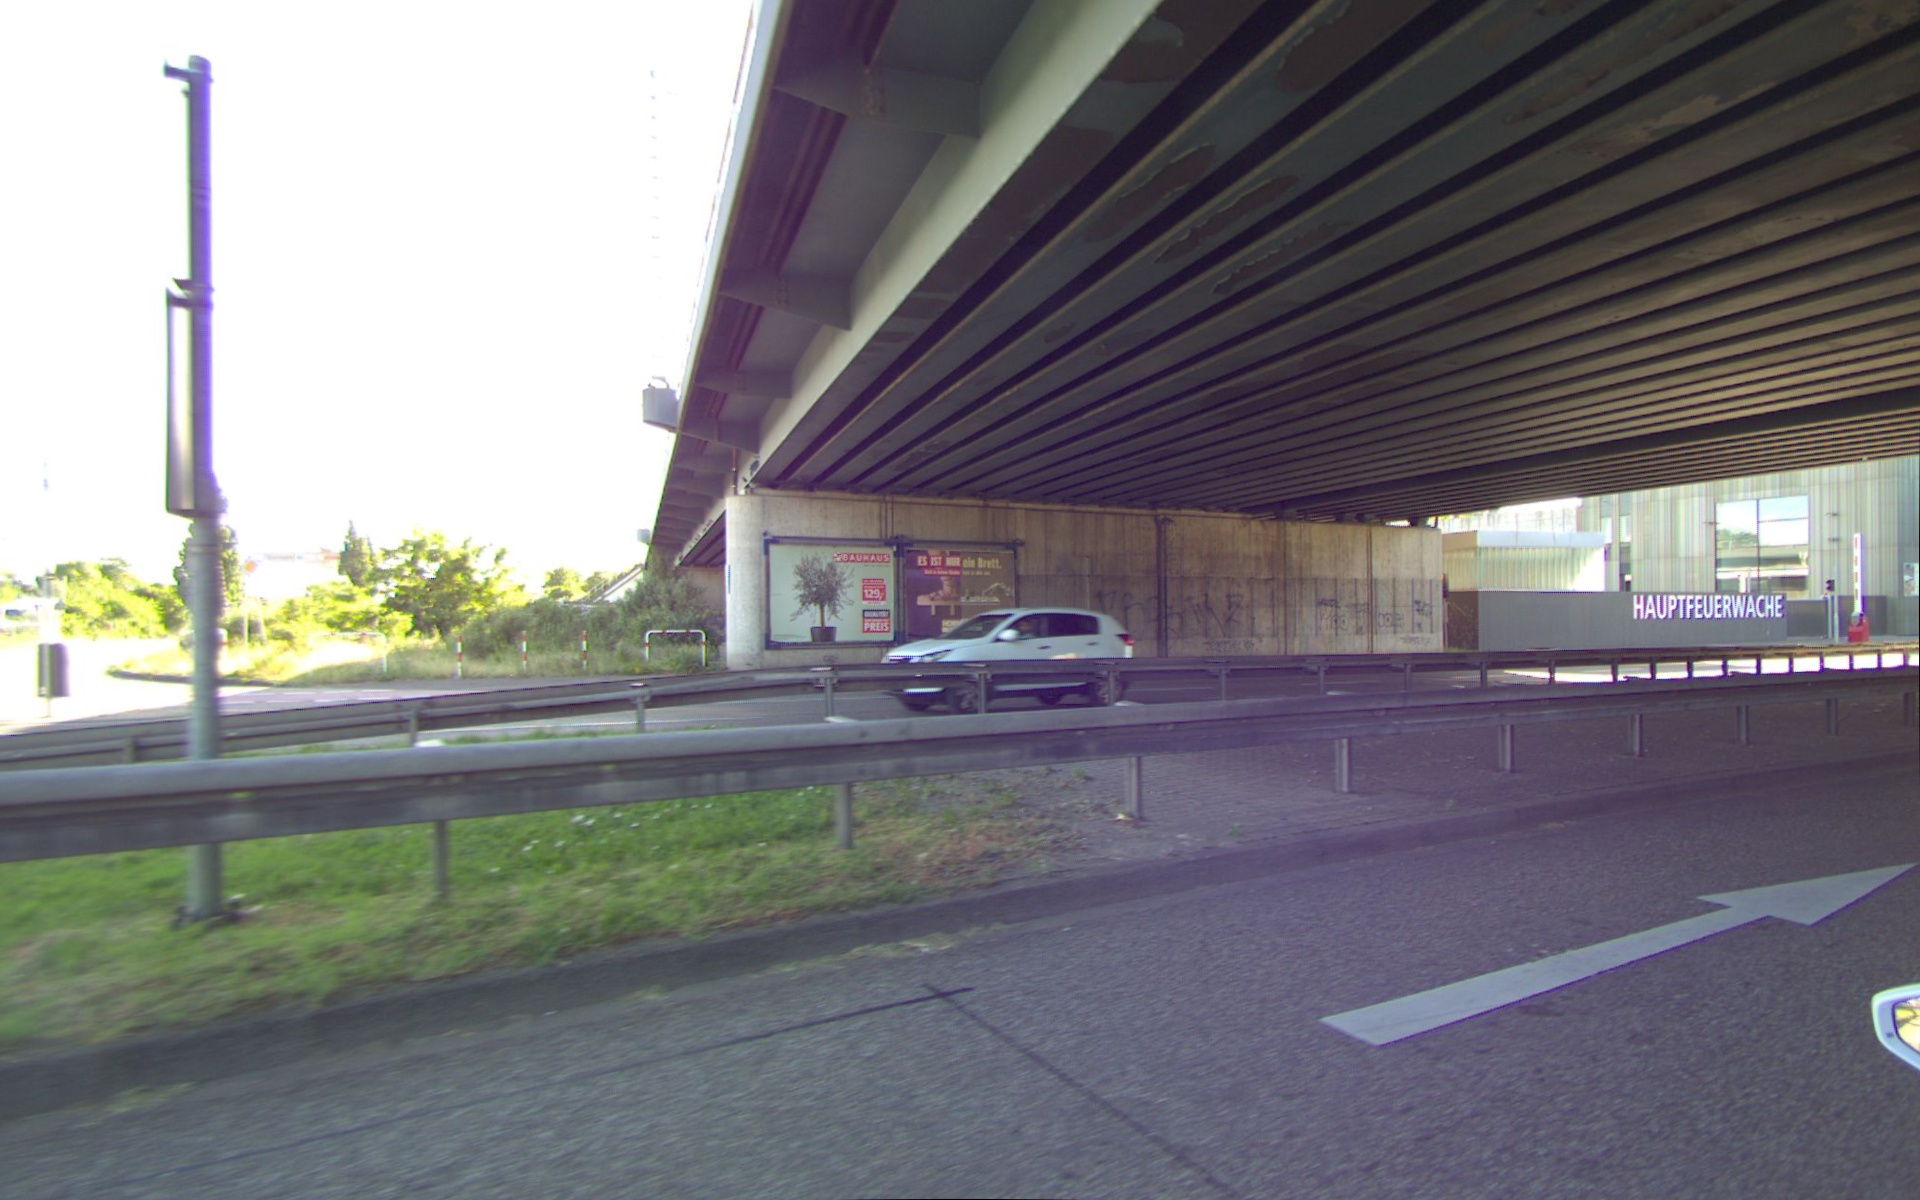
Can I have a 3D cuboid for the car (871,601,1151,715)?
[{"bbox_3d":[0.866,0.868,16.201,4.246,1.628,1.791,1,-1,-31],"label":"car"}]
